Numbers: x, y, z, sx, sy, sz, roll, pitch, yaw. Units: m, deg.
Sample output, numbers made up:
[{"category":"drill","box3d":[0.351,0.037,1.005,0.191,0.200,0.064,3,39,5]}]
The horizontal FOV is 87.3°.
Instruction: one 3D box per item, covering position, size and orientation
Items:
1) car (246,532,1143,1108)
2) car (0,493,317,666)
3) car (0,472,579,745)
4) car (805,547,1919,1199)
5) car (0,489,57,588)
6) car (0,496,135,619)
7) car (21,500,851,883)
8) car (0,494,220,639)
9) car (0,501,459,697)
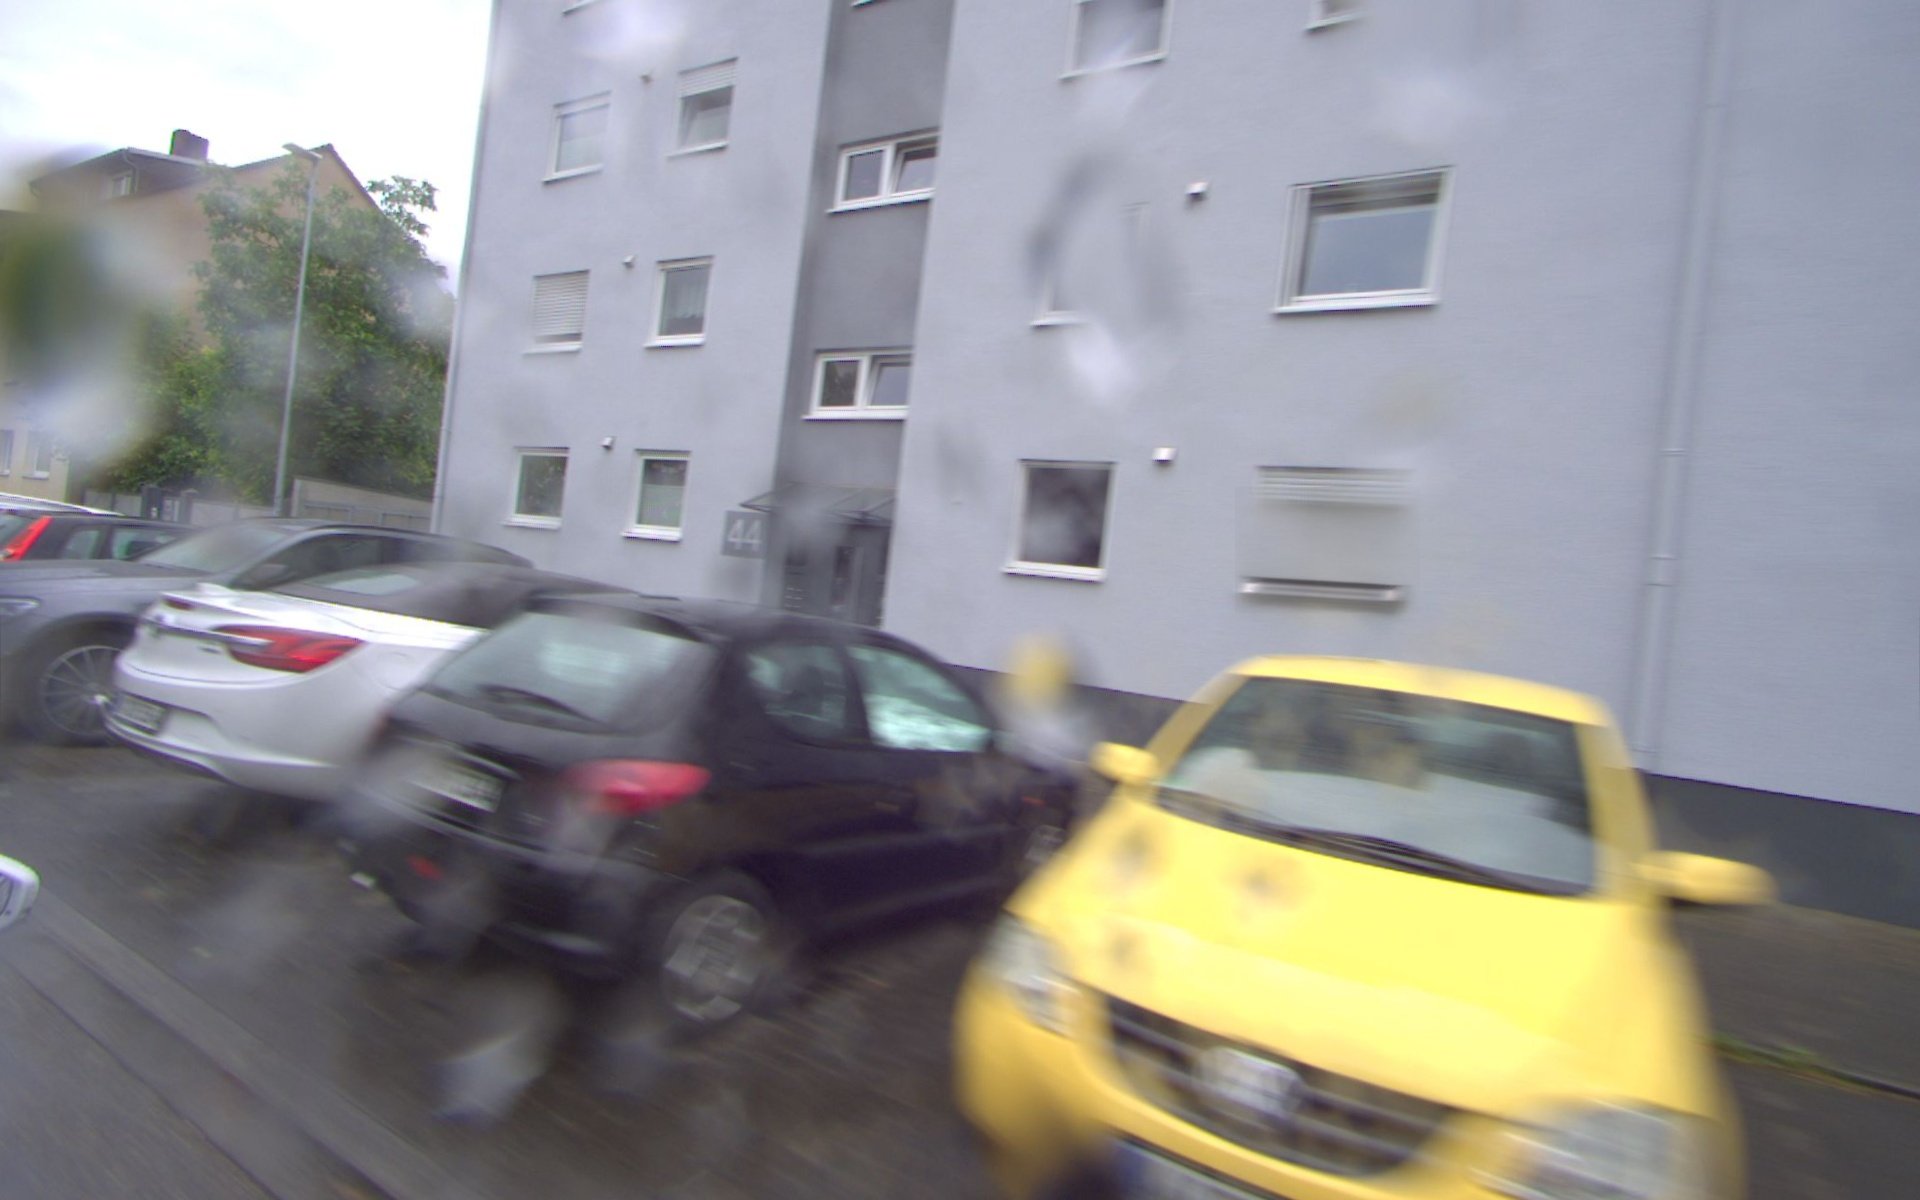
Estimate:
[{"category":"car","box3d":[-0.726,0.760,4.879,1.752,1.458,3.995,6,-2,31]},{"category":"car","box3d":[-9.560,-0.302,10.511,1.954,1.471,4.272,8,-2,37]},{"category":"car","box3d":[-5.513,0.141,7.814,2.006,1.569,4.350,6,-2,31]},{"category":"car","box3d":[1.492,0.940,3.595,1.821,1.569,3.996,6,-2,30]},{"category":"car","box3d":[-17.471,-1.273,16.103,1.873,1.569,3.996,6,-2,30]},{"category":"car","box3d":[-13.526,-0.756,12.983,1.752,1.482,3.995,7,-2,32]},{"category":"car","box3d":[-2.820,0.519,6.344,1.968,1.475,4.103,7,-2,33]},{"category":"car","box3d":[-11.555,-0.522,11.942,1.774,1.490,3.992,6,-2,34]},{"category":"car","box3d":[-7.306,0.043,9.677,1.815,1.428,3.995,7,-2,31]}]
